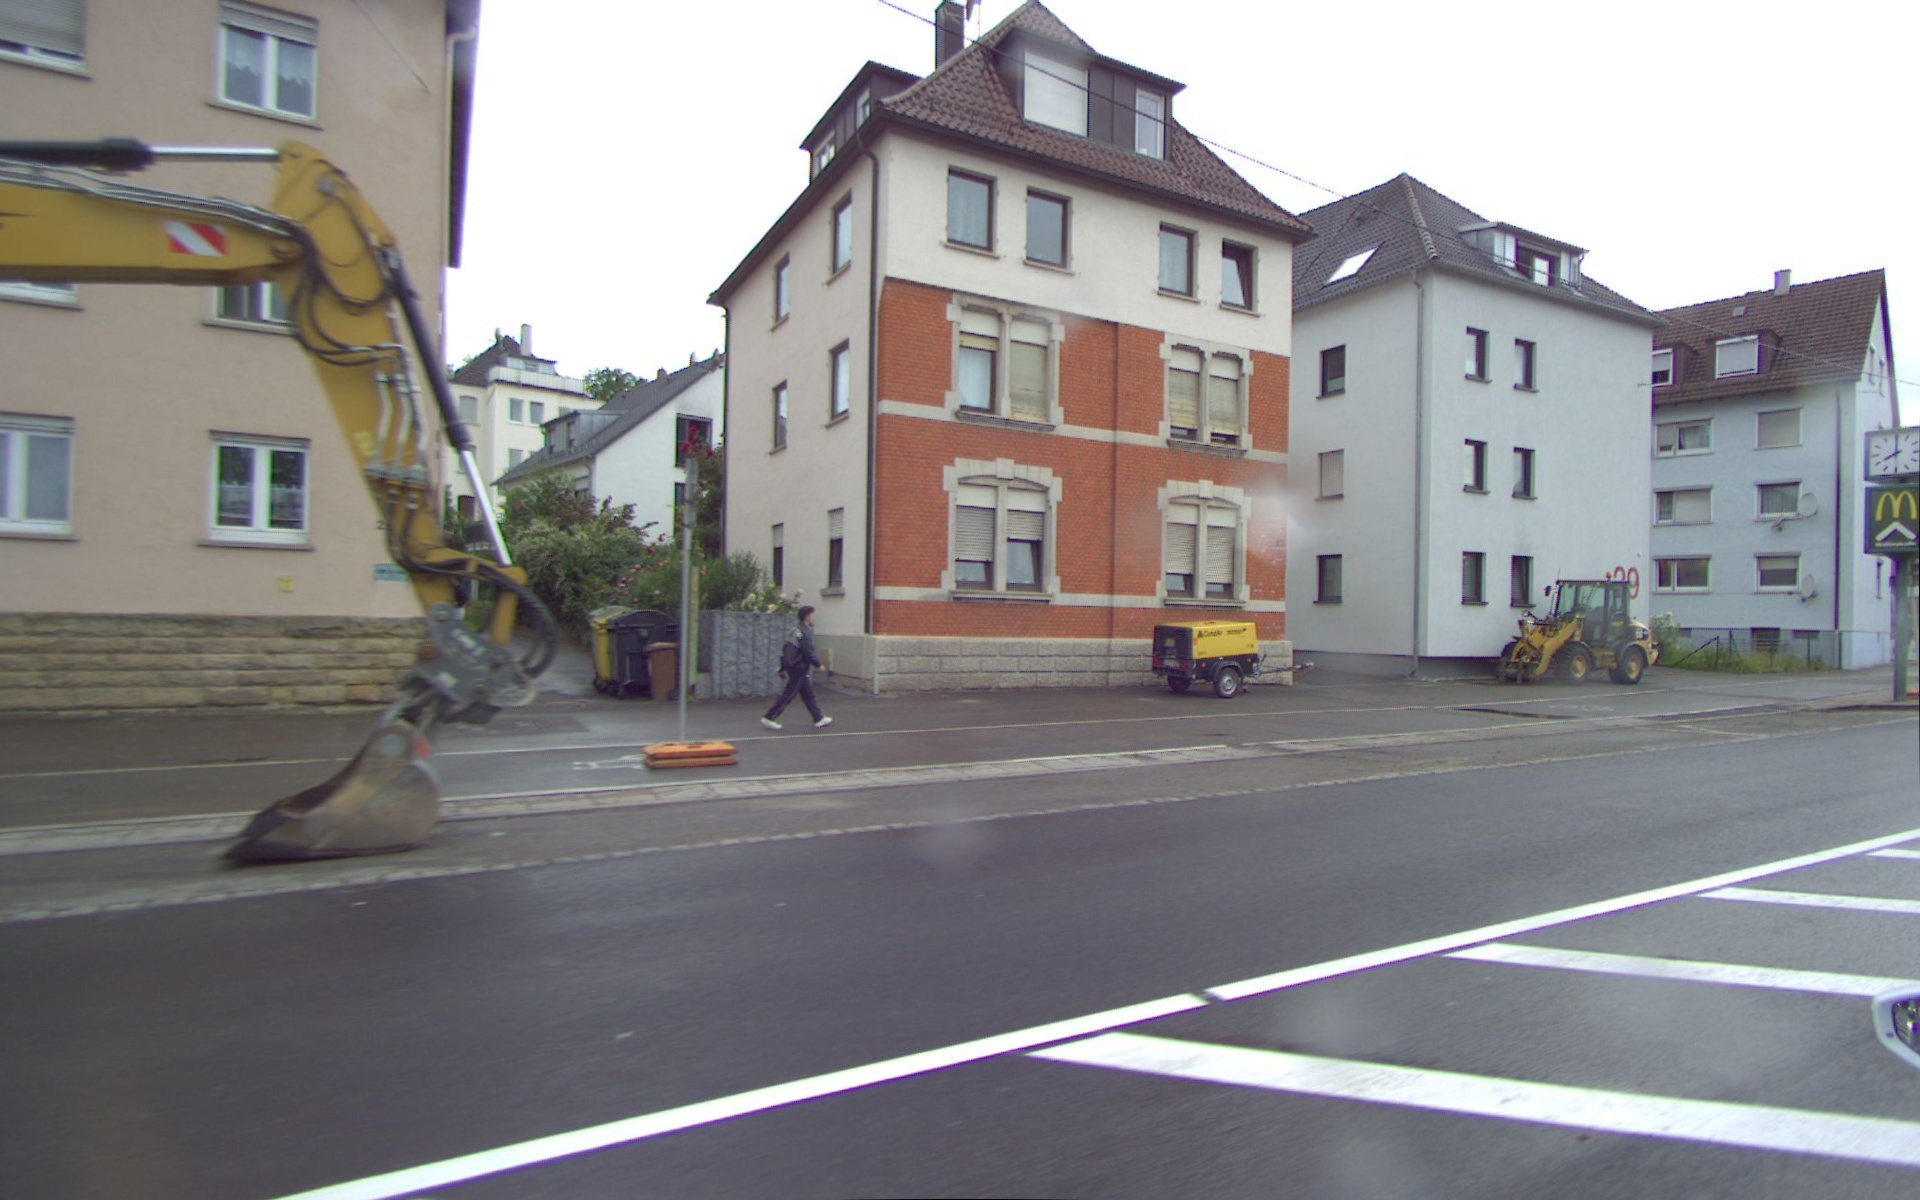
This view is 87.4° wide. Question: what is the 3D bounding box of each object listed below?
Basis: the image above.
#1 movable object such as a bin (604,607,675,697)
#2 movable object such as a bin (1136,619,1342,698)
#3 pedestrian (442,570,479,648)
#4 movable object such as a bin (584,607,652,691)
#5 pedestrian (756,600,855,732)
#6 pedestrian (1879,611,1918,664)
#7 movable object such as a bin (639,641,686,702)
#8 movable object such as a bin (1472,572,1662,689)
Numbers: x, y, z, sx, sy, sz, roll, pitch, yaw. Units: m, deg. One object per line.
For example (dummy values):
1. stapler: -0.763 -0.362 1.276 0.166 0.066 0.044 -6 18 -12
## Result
1. movable object such as a bin: -5.393 0.849 16.868 0.947 1.431 0.848 -1 1 -32
2. movable object such as a bin: 5.469 1.120 19.571 3.954 1.373 1.546 2 -1 -31
3. pedestrian: -13.304 0.224 26.727 0.783 2.041 0.813 -1 1 -32
4. movable object such as a bin: -6.187 0.855 18.158 0.947 1.431 1.078 -1 1 -32
5. pedestrian: -2.010 0.816 13.025 1.077 1.610 0.761 -1 1 -27
6. pedestrian: 37.374 1.463 40.013 1.045 2.041 1.069 -2 2 -44
7. movable object such as a bin: -4.794 1.141 16.176 0.568 0.910 0.630 -1 1 -32
8. movable object such as a bin: 15.366 0.671 25.407 4.566 2.719 1.987 -1 1 -26
